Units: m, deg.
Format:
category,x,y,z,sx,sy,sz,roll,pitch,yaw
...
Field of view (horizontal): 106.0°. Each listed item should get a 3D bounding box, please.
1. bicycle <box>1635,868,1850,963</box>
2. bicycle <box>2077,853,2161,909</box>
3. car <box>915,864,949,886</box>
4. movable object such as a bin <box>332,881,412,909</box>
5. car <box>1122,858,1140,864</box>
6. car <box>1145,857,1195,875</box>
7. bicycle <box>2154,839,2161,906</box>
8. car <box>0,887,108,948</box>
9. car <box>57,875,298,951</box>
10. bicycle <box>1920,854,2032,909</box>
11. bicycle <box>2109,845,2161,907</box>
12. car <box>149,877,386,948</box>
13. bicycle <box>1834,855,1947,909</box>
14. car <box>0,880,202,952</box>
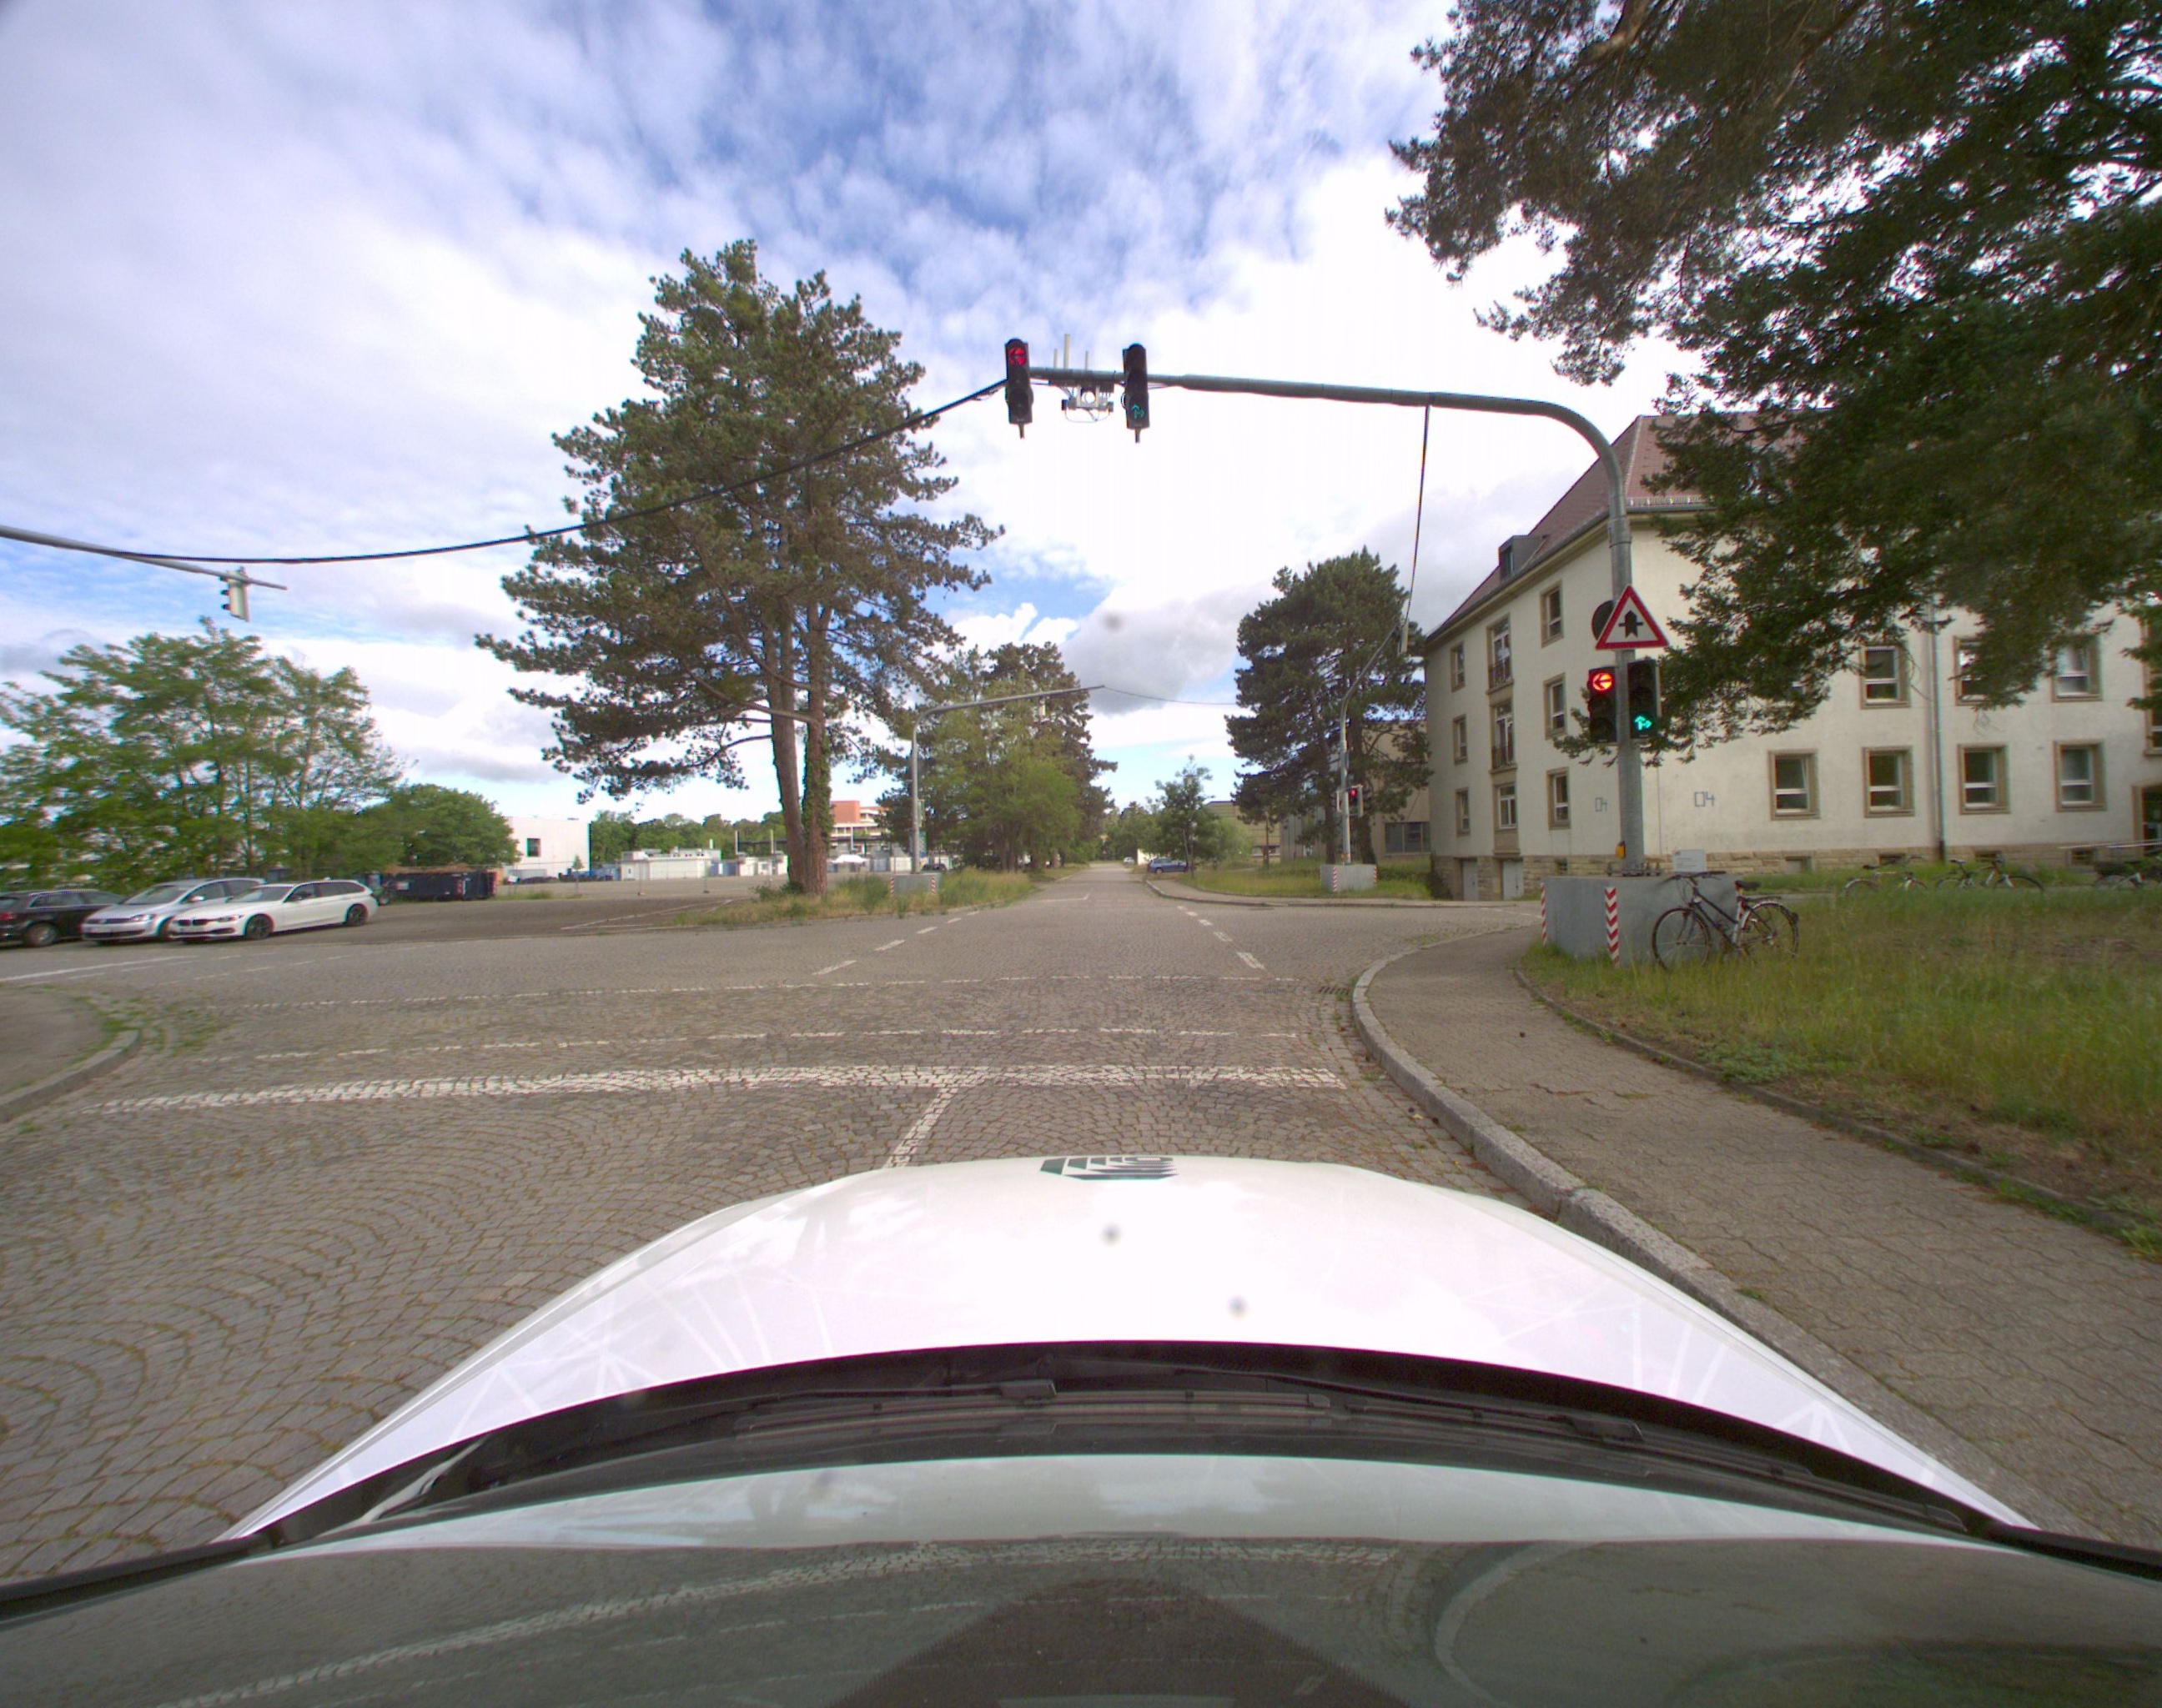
category,x,y,z,sx,sy,sz,roll,pitch,yaw
bicycle,6.719,0.614,8.327,1.693,0.874,0.573,-2,0,2
bicycle,18.799,0.461,14.264,0.538,0.949,1.906,-2,0,7
car,-10.913,1.521,59.845,1.607,1.487,4.002,-2,0,2
movable object such as a bin,-30.763,1.744,35.404,1.175,1.048,2.656,-2,0,-3
car,11.698,1.640,191.330,3.979,1.398,1.997,-2,0,-4
car,8.067,1.076,74.254,4.330,1.422,2.000,-2,0,0
bicycle,20.023,0.334,14.214,0.538,1.215,1.642,-2,0,7
car,-30.245,1.802,22.399,1.788,1.566,4.324,-2,0,-1
car,-24.810,1.544,22.656,1.816,1.584,4.325,-2,2,-1
bicycle,17.315,0.520,15.775,1.531,1.014,0.543,-2,-1,1
bicycle,19.450,0.384,14.300,0.538,1.101,1.906,-2,0,7
car,-22.317,1.516,22.691,1.804,1.441,4.739,-2,2,-1
bicycle,15.560,0.531,15.679,1.615,0.980,0.530,-2,-1,1
car,-27.574,1.641,22.491,1.849,1.501,4.325,-2,2,-1
